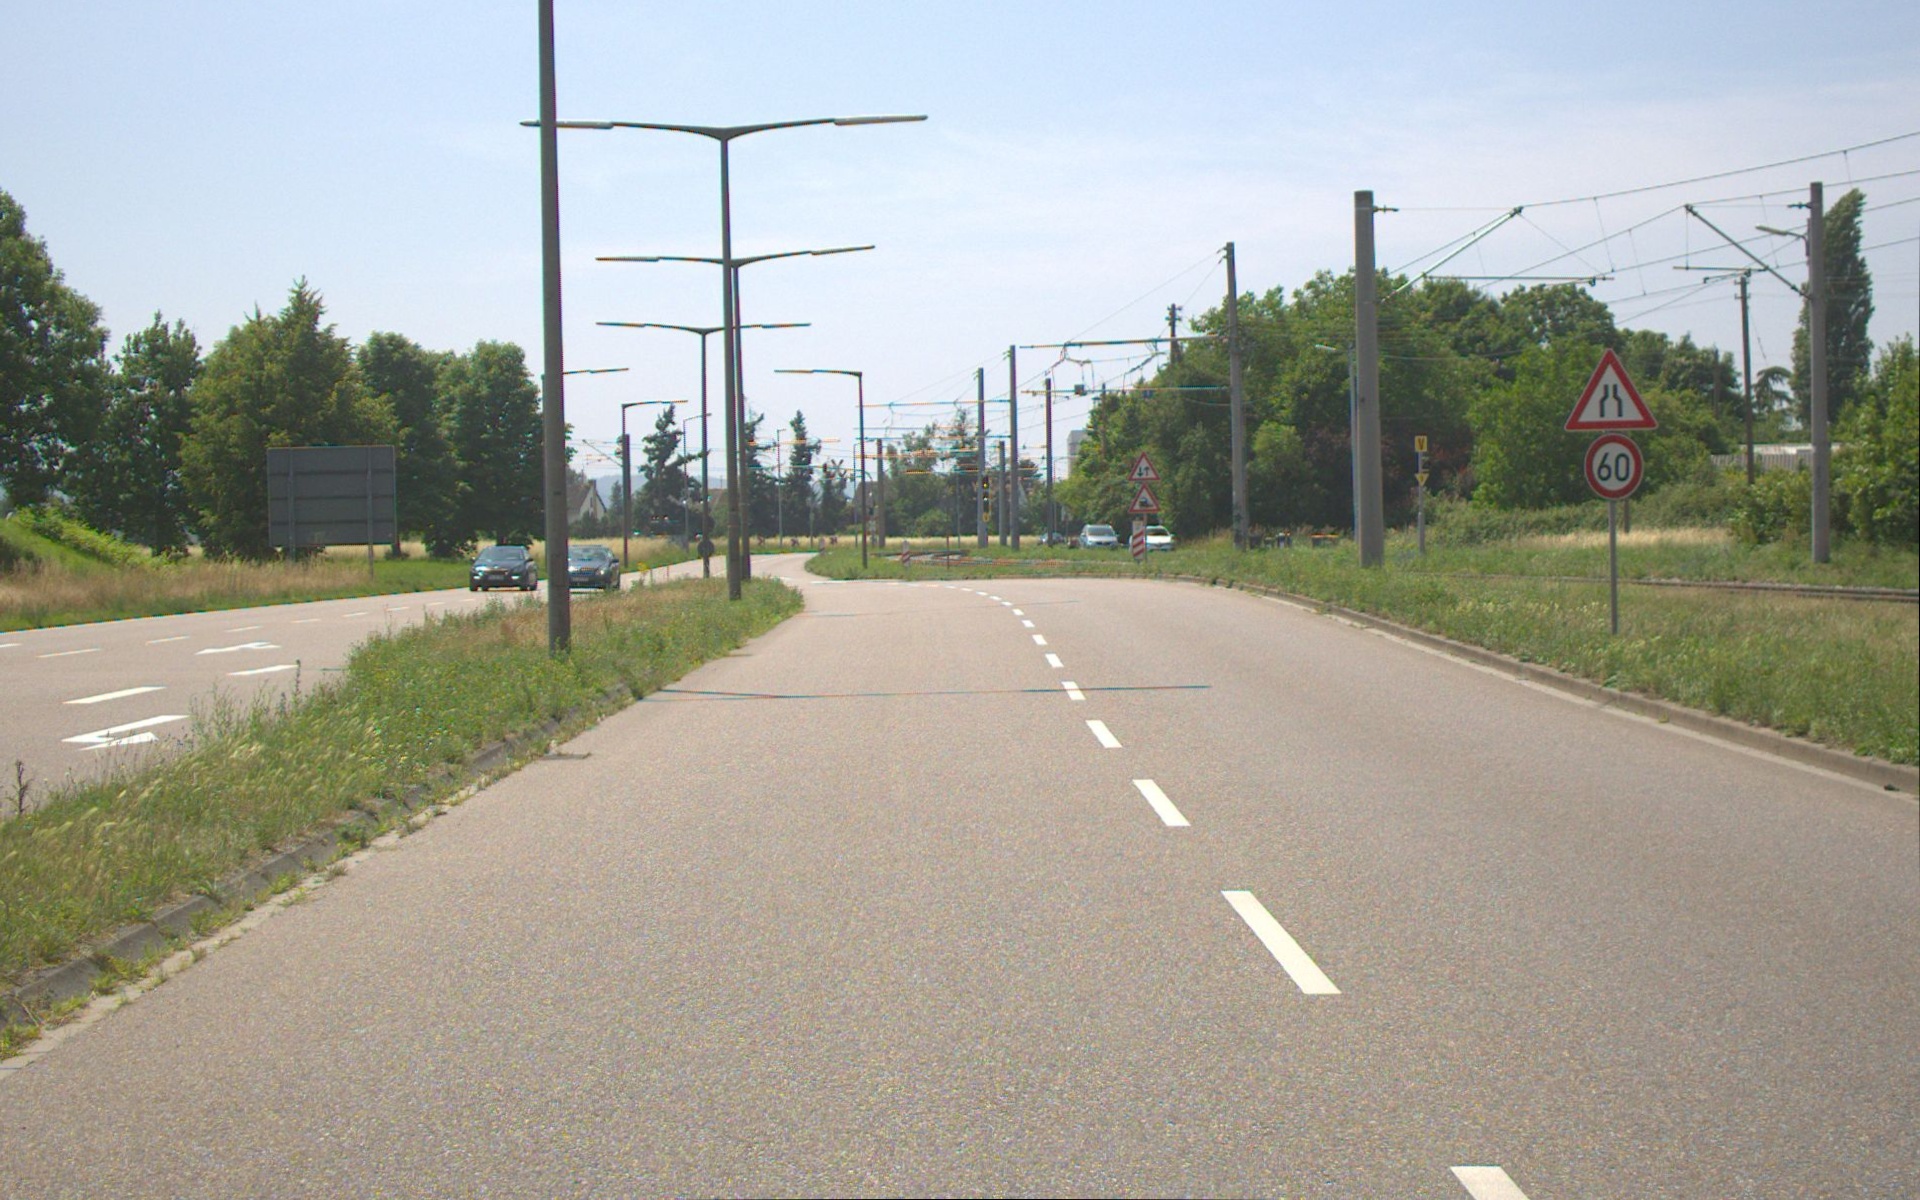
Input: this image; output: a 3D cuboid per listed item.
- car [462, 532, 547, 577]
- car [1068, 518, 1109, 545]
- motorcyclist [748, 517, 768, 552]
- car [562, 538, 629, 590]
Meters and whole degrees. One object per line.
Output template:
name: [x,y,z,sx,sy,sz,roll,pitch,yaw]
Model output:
car: [-14.415,-1.457,108.981,1.993,1.355,4.666,-2,1,0]
car: [6.755,-3.600,181.412,1.671,1.392,3.651,0,0,-6]
motorcyclist: [-13.829,-4.477,235.500,1.231,2.343,1.106,0,0,2]
car: [-10.882,-1.101,102.864,1.692,1.486,4.001,-1,1,-2]
